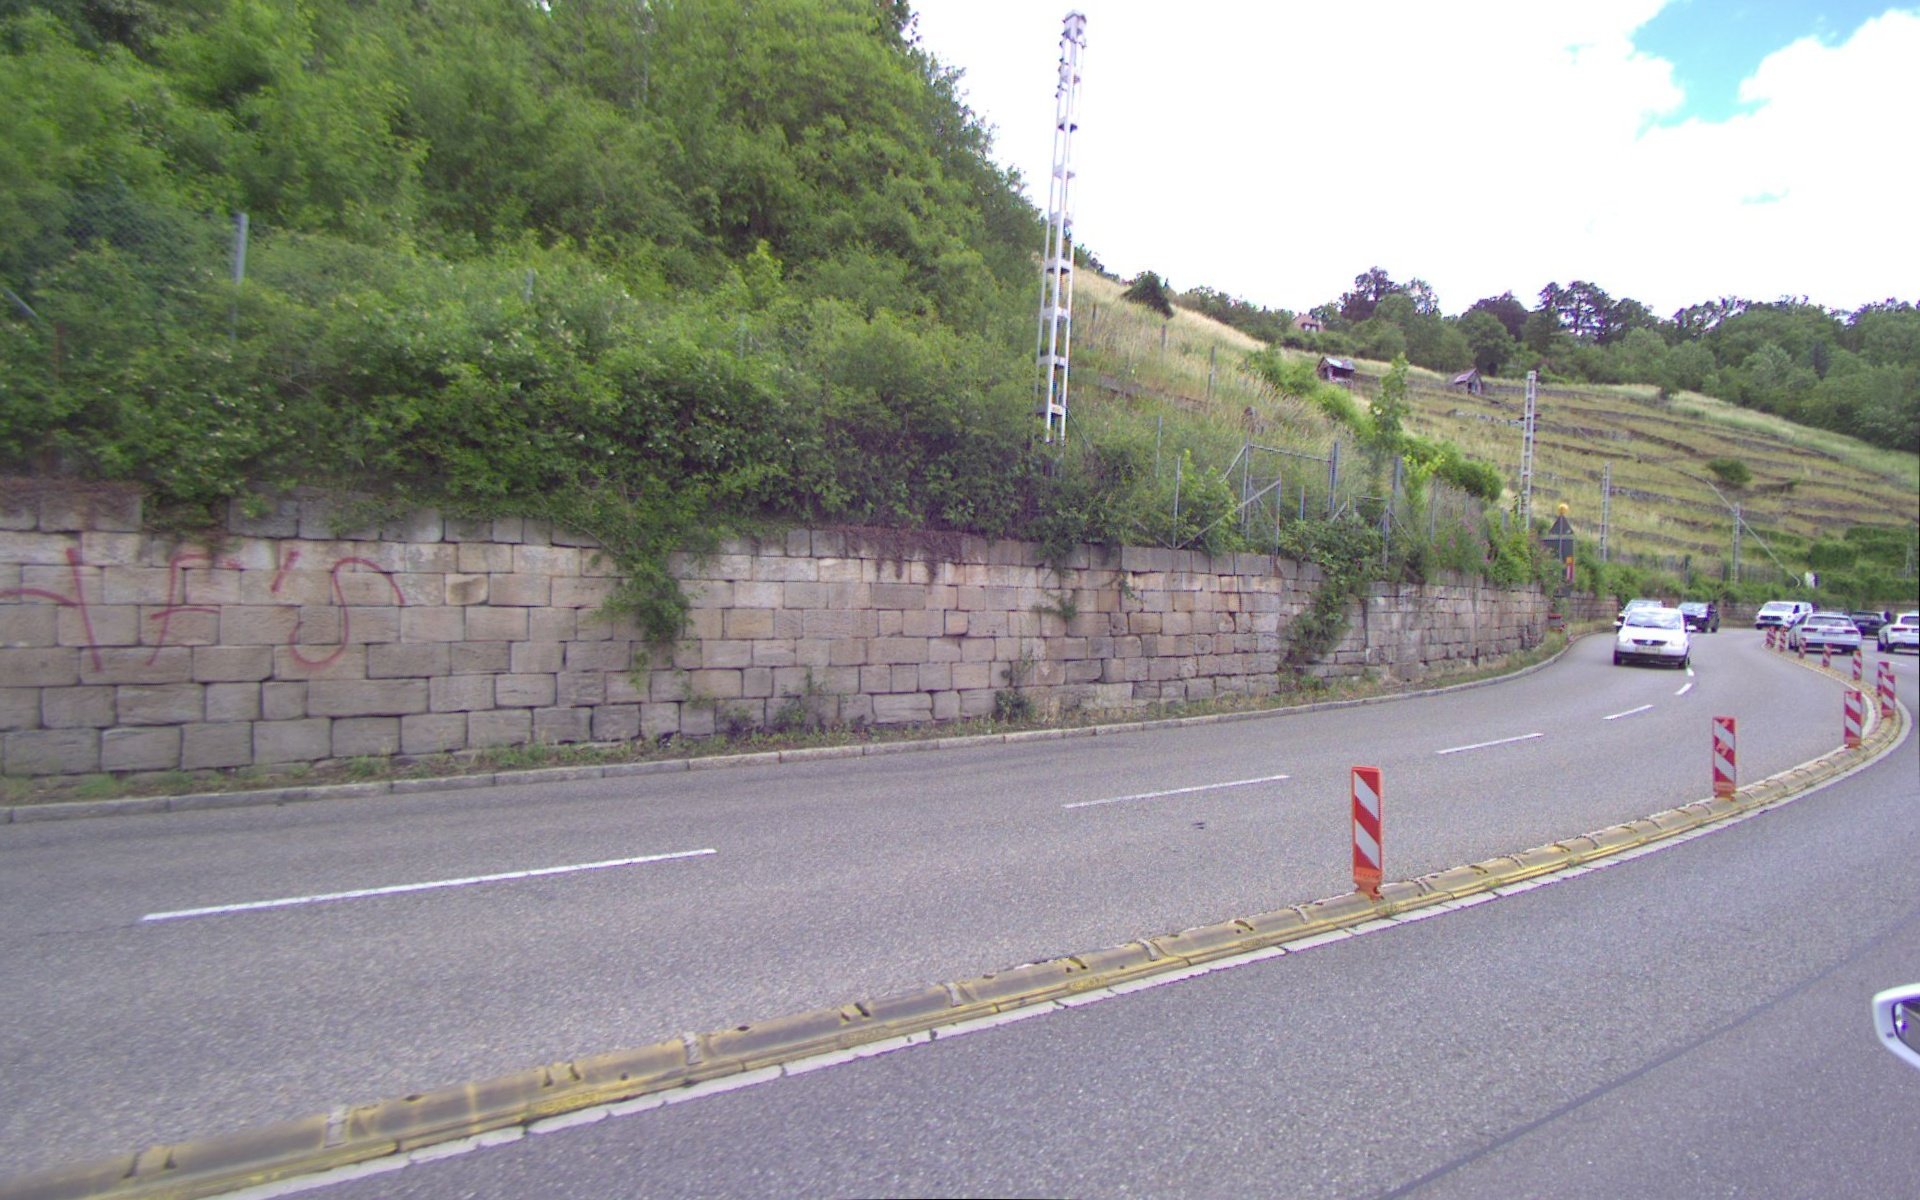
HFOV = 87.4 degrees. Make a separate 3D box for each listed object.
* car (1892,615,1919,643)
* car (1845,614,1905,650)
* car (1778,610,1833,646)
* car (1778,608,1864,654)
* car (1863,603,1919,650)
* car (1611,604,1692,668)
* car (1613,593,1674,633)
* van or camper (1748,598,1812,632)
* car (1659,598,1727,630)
[{"bbox_3d":[69.285,2.128,72.620,3.959,1.784,1.859,5,-2,-33],"label":"car"},{"bbox_3d":[53.553,1.870,58.765,3.964,1.784,1.856,6,-3,-37],"label":"car"},{"bbox_3d":[43.680,1.477,51.883,1.972,1.669,3.979,-3,-5,43],"label":"car"},{"bbox_3d":[32.588,1.221,38.137,1.967,1.522,4.654,-1,-4,35],"label":"car"},{"bbox_3d":[38.255,1.103,40.713,1.967,1.740,4.101,-1,-4,35],"label":"car"},{"bbox_3d":[19.000,0.938,27.597,1.679,1.569,3.987,3,1,35],"label":"car"},{"bbox_3d":[32.456,0.641,47.648,1.822,1.749,4.440,2,0,41],"label":"car"},{"bbox_3d":[55.788,0.992,68.316,4.912,2.043,2.134,-2,1,-35],"label":"van or camper"},{"bbox_3d":[41.478,0.815,56.829,4.306,1.645,1.851,2,1,-36],"label":"car"}]
